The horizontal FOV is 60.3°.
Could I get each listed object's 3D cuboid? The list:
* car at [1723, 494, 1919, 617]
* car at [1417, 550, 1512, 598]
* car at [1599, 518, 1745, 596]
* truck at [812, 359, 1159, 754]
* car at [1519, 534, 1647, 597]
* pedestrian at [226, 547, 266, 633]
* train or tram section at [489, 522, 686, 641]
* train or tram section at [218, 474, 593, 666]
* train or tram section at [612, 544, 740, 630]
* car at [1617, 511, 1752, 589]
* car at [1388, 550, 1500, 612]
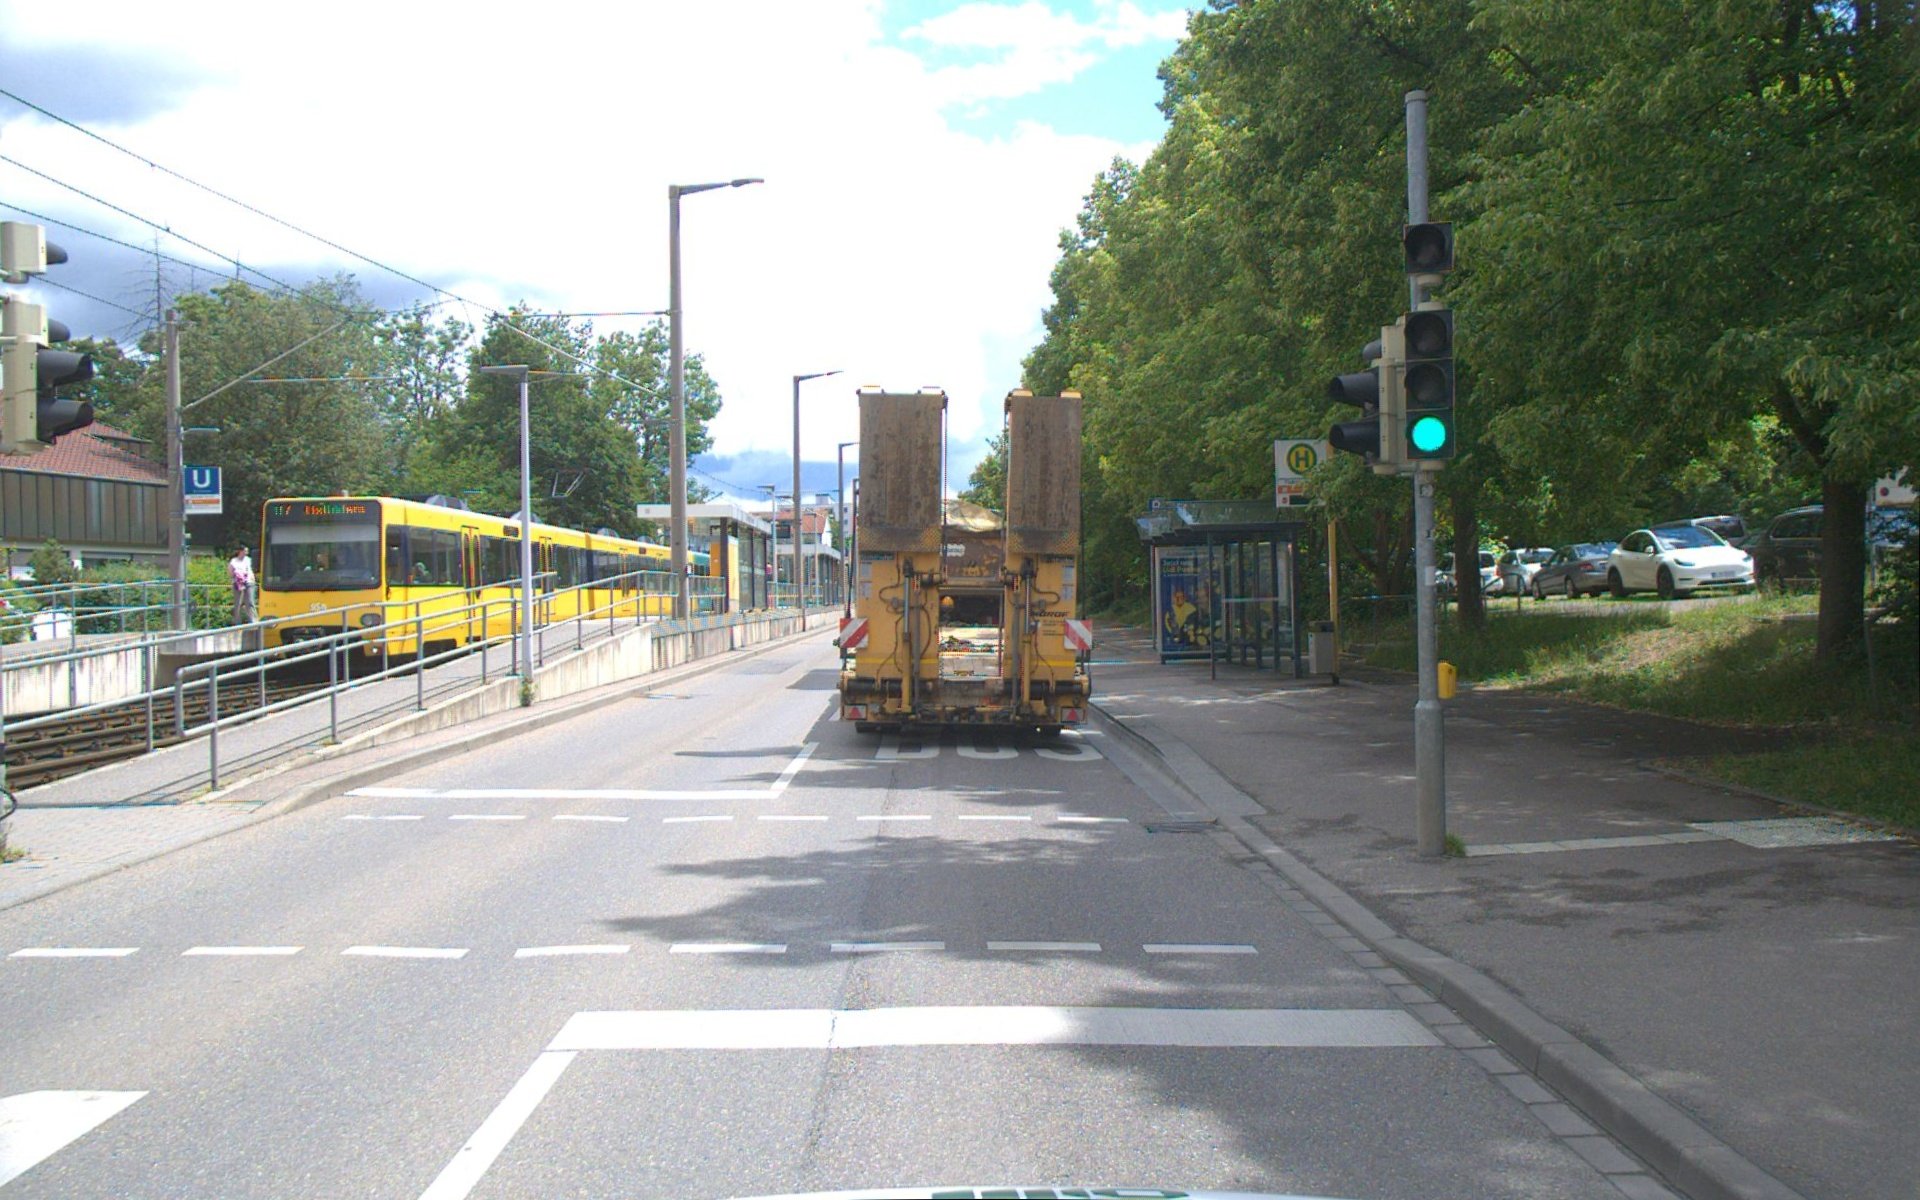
[{"bbox_3d":[14.578,-0.694,27.400,1.654,1.723,4.260,-5,-2,-2],"label":"car"},{"bbox_3d":[16.669,-0.835,54.844,1.803,1.445,4.123,-3,0,0],"label":"car"},{"bbox_3d":[16.387,-0.963,38.272,1.440,1.582,4.432,-5,1,1],"label":"car"},{"bbox_3d":[-0.130,-0.435,22.940,3.335,3.797,13.729,-1,0,-3],"label":"truck"},{"bbox_3d":[16.252,-0.862,43.385,1.580,1.467,4.352,-4,0,-1],"label":"car"},{"bbox_3d":[-15.202,-0.204,35.233,0.572,1.809,0.576,1,0,-1],"label":"pedestrian"},{"bbox_3d":[-12.716,-0.538,58.991,3.045,3.525,18.991,1,0,-1],"label":"train or tram section"},{"bbox_3d":[-12.372,-0.553,40.087,3.045,3.525,18.821,1,0,-1],"label":"train or tram section"},{"bbox_3d":[-13.039,-0.523,78.088,3.045,3.525,19.193,1,0,-1],"label":"train or tram section"},{"bbox_3d":[19.170,-1.273,43.932,1.580,1.821,4.207,-4,0,-1],"label":"car"},{"bbox_3d":[13.912,-0.514,47.809,1.809,1.691,4.723,-1,0,-1],"label":"car"}]
